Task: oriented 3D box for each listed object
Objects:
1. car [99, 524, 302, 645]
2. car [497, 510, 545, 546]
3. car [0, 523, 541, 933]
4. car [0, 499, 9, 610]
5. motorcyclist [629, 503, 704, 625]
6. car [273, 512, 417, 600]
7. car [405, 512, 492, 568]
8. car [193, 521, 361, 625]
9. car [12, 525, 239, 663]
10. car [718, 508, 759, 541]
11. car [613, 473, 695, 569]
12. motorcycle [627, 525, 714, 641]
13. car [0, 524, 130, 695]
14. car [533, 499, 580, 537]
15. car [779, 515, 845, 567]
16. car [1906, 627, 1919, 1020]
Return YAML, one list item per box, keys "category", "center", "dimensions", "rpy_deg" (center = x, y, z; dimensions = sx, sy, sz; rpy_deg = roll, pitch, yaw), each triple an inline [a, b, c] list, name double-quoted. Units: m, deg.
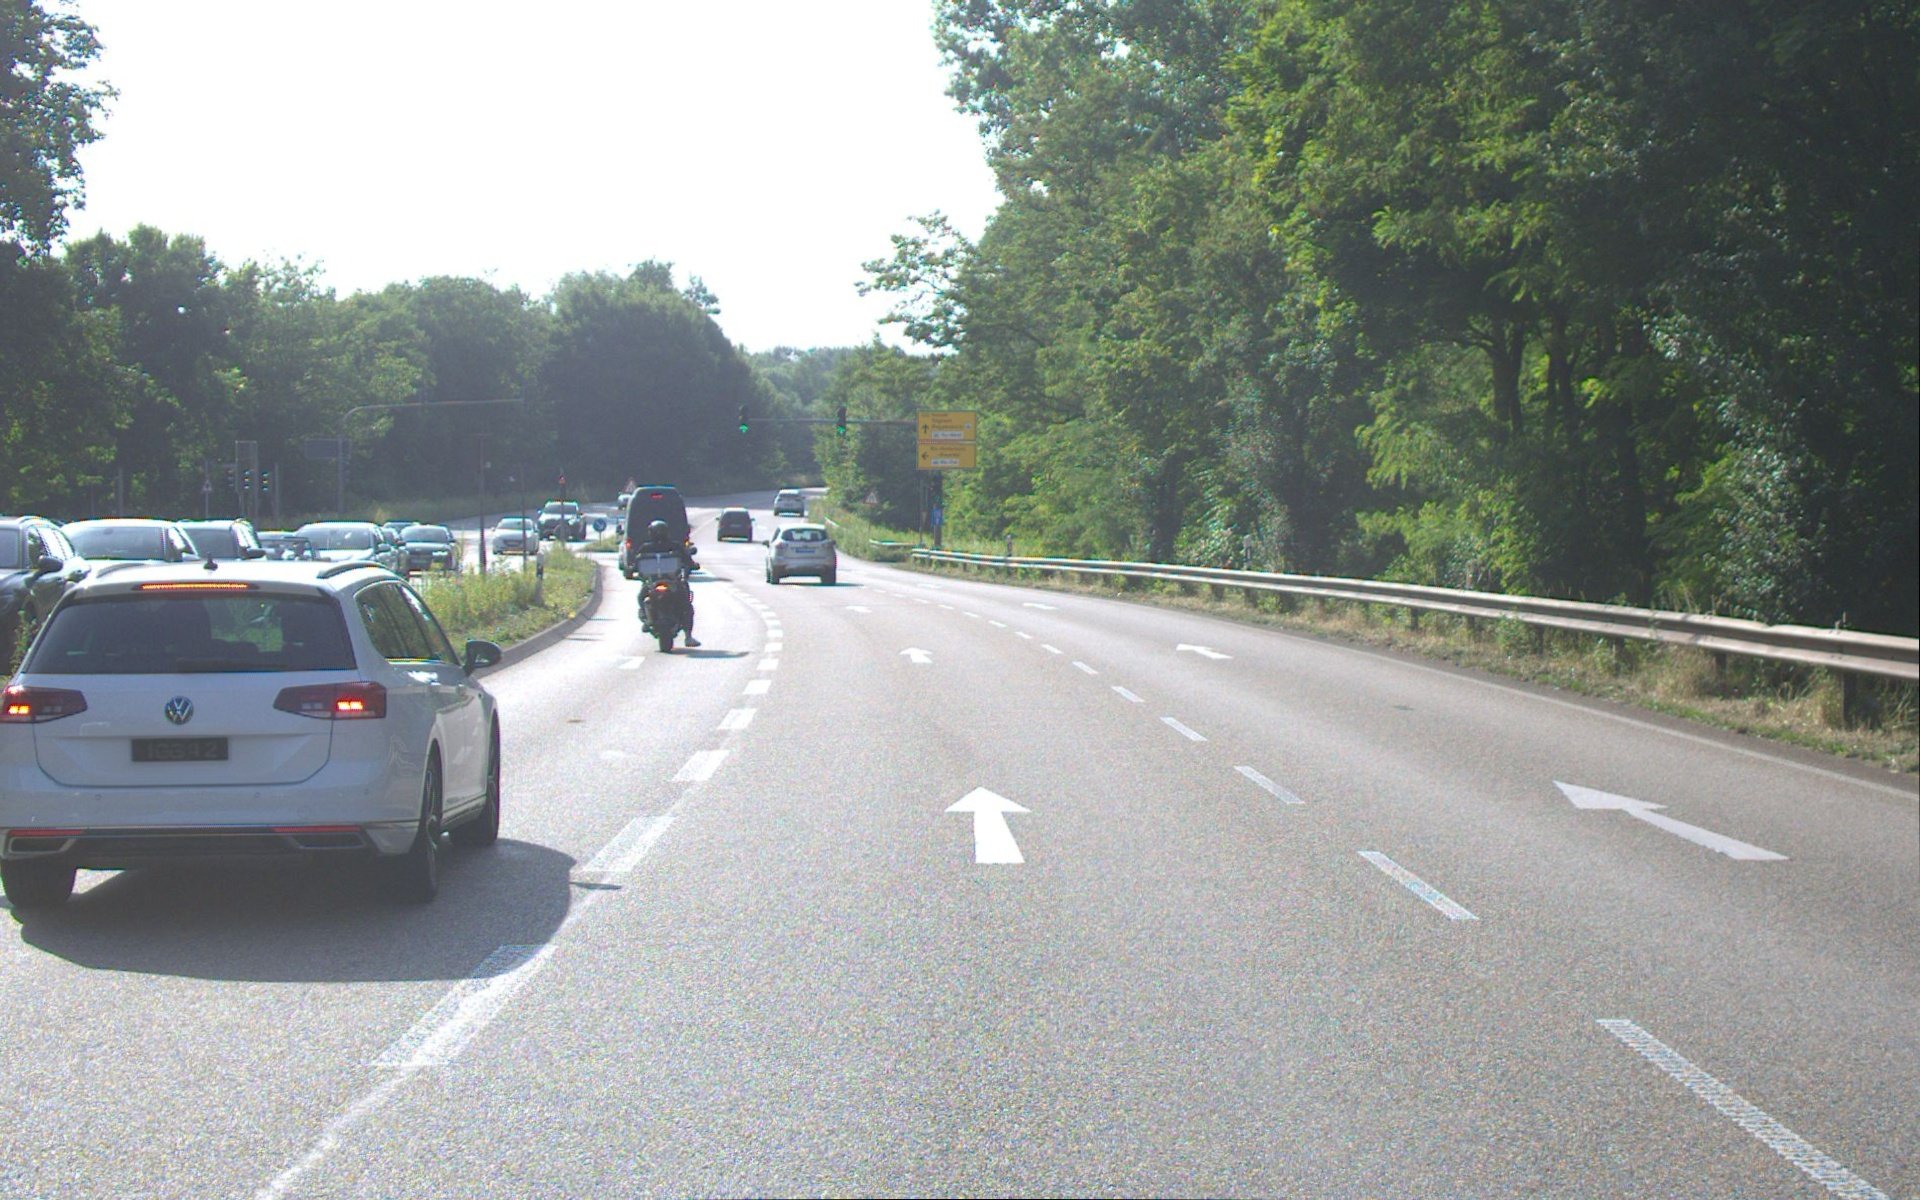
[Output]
- category: "car"
  center: [-9.834, -0.245, 44.856]
  dimensions: [1.767, 1.418, 5.194]
  rpy_deg: [-1, 2, -3]
- category: "car"
  center: [-17.988, -2.965, 141.089]
  dimensions: [1.788, 1.406, 4.228]
  rpy_deg: [1, 2, -5]
- category: "car"
  center: [-3.146, 0.448, 15.831]
  dimensions: [1.870, 1.516, 4.835]
  rpy_deg: [1, 2, -1]
- category: "car"
  center: [-17.648, -0.682, 57.801]
  dimensions: [2.011, 1.929, 5.103]
  rpy_deg: [-3, 2, -2]
- category: "motorcyclist"
  center: [-3.989, -0.501, 46.761]
  dimensions: [0.883, 1.610, 1.290]
  rpy_deg: [2, 1, -1]
- category: "car"
  center: [-10.617, -0.795, 59.625]
  dimensions: [1.867, 1.412, 4.416]
  rpy_deg: [-1, 2, -3]
- category: "car"
  center: [-16.387, -1.953, 110.341]
  dimensions: [2.102, 1.702, 6.226]
  rpy_deg: [-1, 2, -3]
- category: "car"
  center: [-10.099, -0.434, 51.102]
  dimensions: [1.767, 1.412, 4.435]
  rpy_deg: [-1, 2, -3]
- category: "car"
  center: [-9.448, -0.113, 39.203]
  dimensions: [1.706, 1.418, 4.212]
  rpy_deg: [-1, 2, -3]
- category: "car"
  center: [-10.835, -3.673, 167.689]
  dimensions: [1.744, 1.532, 3.927]
  rpy_deg: [1, 2, -7]
- category: "car"
  center: [-9.559, -2.517, 107.862]
  dimensions: [2.209, 2.878, 7.012]
  rpy_deg: [-1, 2, -3]
- category: "motorcycle"
  center: [-3.921, -0.258, 46.735]
  dimensions: [0.909, 1.448, 2.689]
  rpy_deg: [-3, 2, -1]
- category: "car"
  center: [-9.141, 0.040, 32.009]
  dimensions: [1.771, 1.418, 5.193]
  rpy_deg: [-1, 2, -3]
- category: "car"
  center: [-19.141, -3.910, 163.261]
  dimensions: [2.075, 1.757, 4.758]
  rpy_deg: [-2, 2, -5]
- category: "car"
  center: [-4.158, -1.675, 96.982]
  dimensions: [1.761, 1.375, 3.972]
  rpy_deg: [1, 2, -2]
- category: "car"
  center: [3.823, 0.612, 8.560]
  dimensions: [1.819, 1.462, 3.873]
  rpy_deg: [2, 2, 0]
